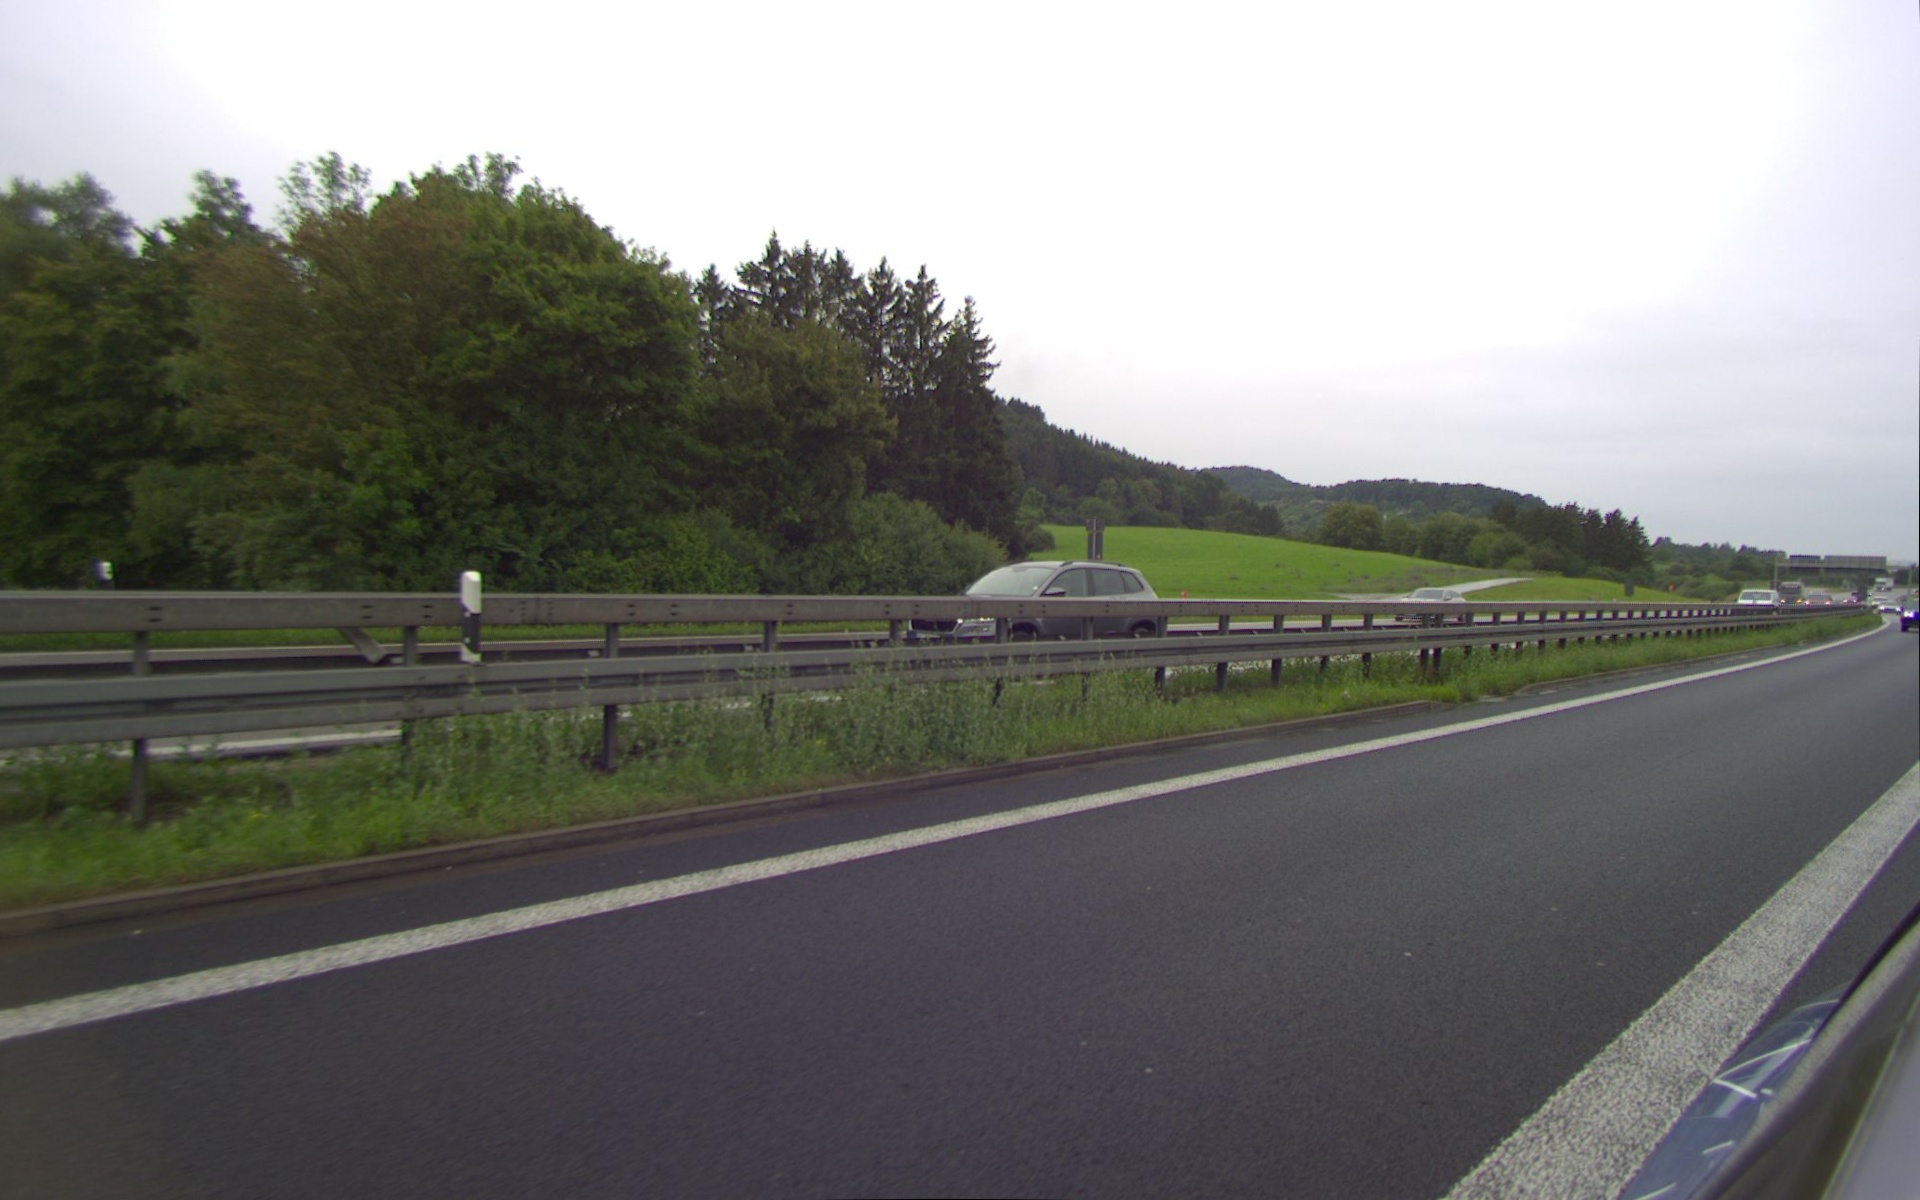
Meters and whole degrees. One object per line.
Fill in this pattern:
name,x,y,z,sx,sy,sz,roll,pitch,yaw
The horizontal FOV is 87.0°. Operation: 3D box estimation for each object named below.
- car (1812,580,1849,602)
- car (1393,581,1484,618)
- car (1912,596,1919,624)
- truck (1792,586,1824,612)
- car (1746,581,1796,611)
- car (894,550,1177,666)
car,82.673,-0.863,96.088,4.993,2.039,2.126,-1,1,-44
car,20.304,-0.058,42.825,4.630,1.473,1.901,-1,1,-43
car,50.552,0.511,52.223,4.492,1.374,1.863,-1,1,-44
truck,132.085,-0.215,157.626,9.863,3.949,2.794,-1,1,-44
car,49.941,-0.263,62.265,4.642,1.714,1.910,-1,1,-45
car,1.175,0.050,14.416,4.055,1.399,1.670,0,3,-42
